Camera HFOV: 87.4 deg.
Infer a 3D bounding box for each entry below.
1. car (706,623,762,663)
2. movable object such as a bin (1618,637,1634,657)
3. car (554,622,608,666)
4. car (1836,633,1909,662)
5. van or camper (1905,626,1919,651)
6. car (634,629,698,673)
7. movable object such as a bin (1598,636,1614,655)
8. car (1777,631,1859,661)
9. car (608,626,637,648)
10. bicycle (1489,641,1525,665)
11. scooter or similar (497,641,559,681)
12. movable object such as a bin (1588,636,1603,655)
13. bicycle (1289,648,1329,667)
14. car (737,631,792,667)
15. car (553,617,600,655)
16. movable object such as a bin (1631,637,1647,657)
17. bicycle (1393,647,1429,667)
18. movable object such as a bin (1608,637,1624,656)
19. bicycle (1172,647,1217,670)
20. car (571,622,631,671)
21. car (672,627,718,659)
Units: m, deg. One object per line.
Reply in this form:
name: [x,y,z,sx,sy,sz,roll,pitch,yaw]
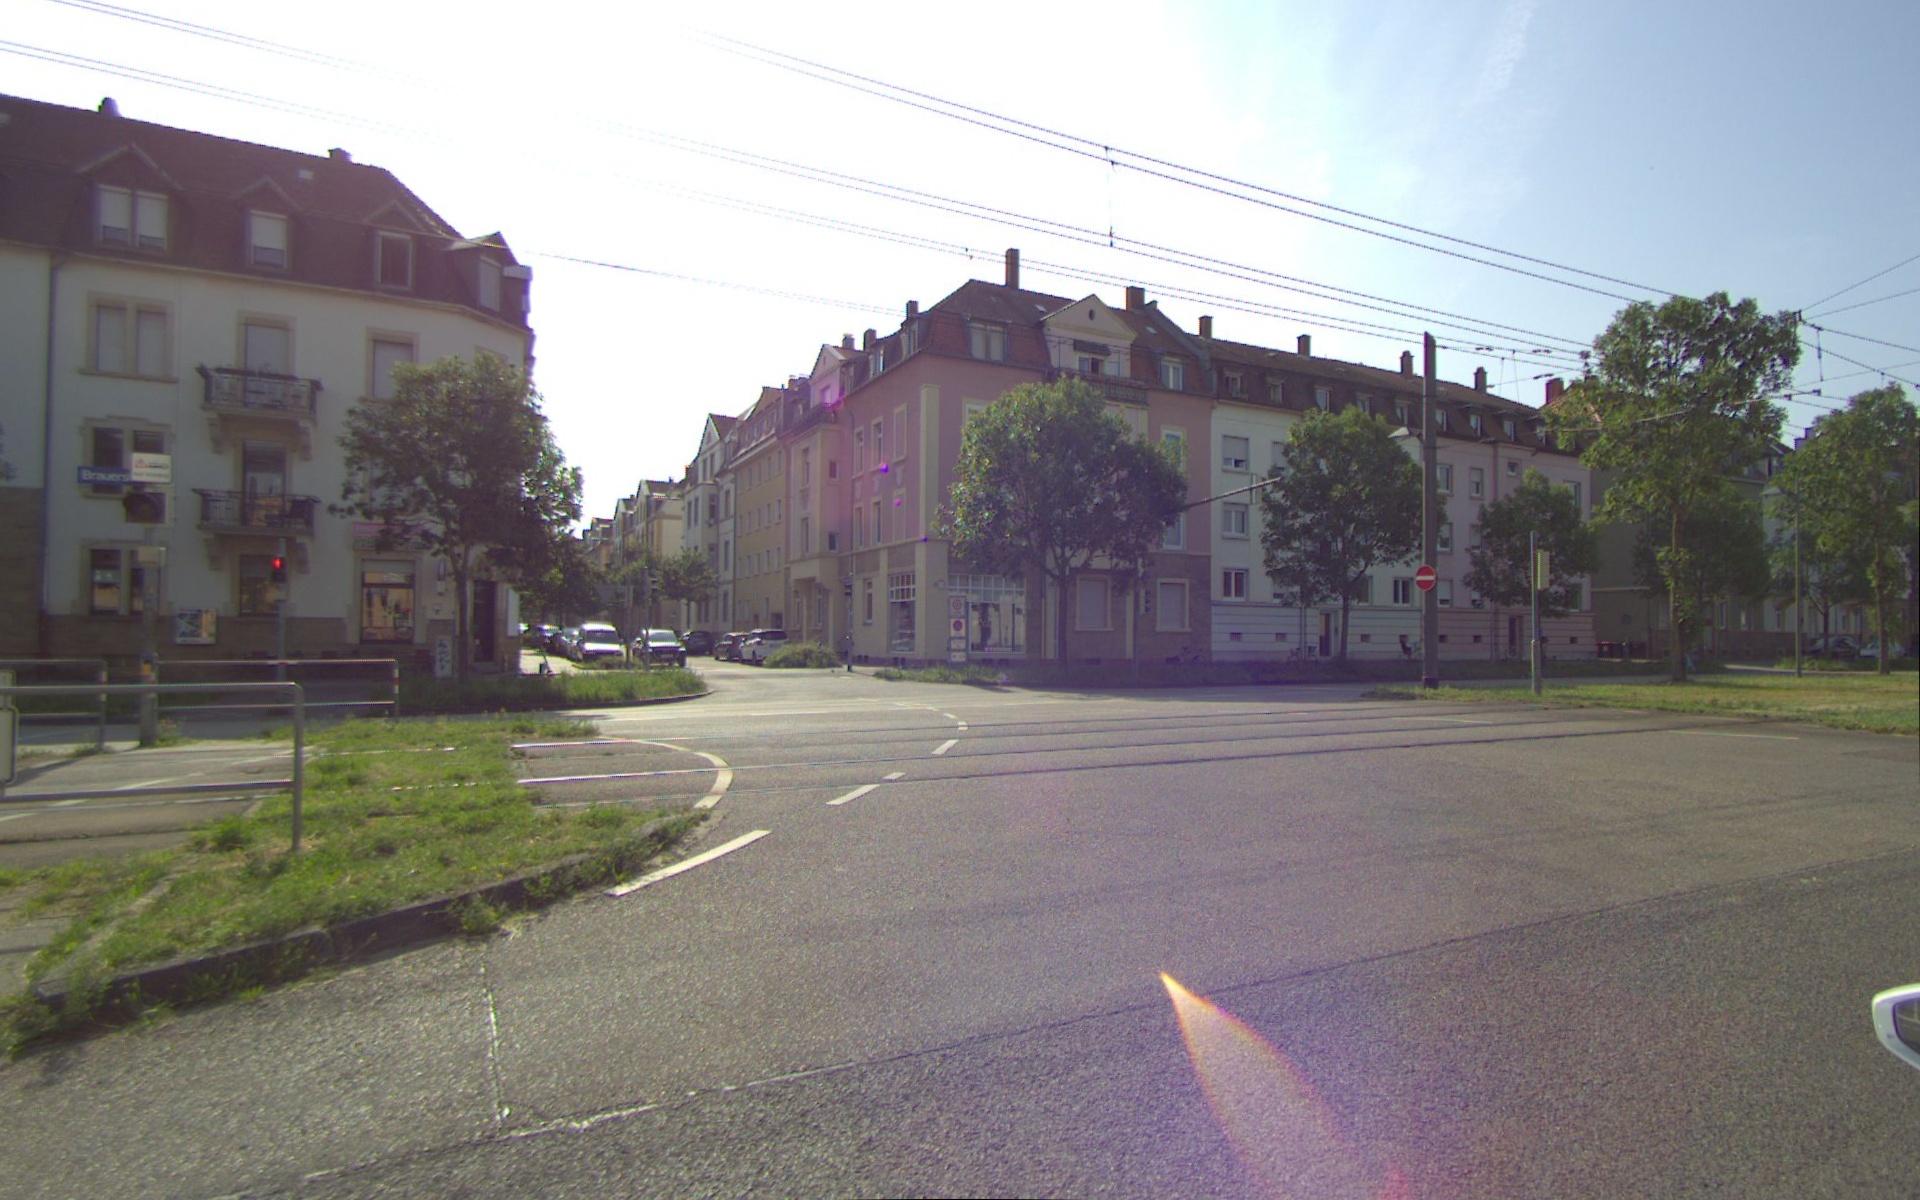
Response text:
car: [-11.709,2.210,51.907,1.812,1.874,3.970,2,0,-29]
movable object such as a bin: [42.561,2.988,64.192,0.632,1.227,0.582,1,0,-28]
car: [-17.896,2.047,47.331,1.812,1.874,3.970,2,0,-29]
car: [56.522,2.925,62.185,4.099,1.650,1.884,1,0,-25]
van or camper: [63.359,2.535,64.044,1.962,1.645,4.853,1,0,6]
car: [-12.665,2.152,43.163,1.812,1.642,3.970,2,0,-29]
movable object such as a bin: [41.996,2.978,65.298,0.632,1.227,0.582,1,0,-28]
car: [50.785,2.715,59.445,4.711,1.650,1.987,1,0,-26]
car: [-30.288,3.278,90.020,1.812,1.874,3.970,2,-1,-29]
bicycle: [27.292,2.655,50.089,1.924,1.143,0.601,2,0,-29]
scooter or similar: [-12.676,1.768,29.491,0.731,1.083,1.481,1,0,41]
movable object such as a bin: [41.708,2.973,65.876,0.632,1.227,0.582,1,0,-28]
bicycle: [15.217,2.503,43.774,1.924,0.799,0.435,2,0,-29]
car: [-9.218,2.287,47.222,1.551,1.481,3.383,2,0,-29]
car: [-20.943,1.924,54.768,1.812,1.874,3.970,2,0,-29]
movable object such as a bin: [42.972,2.996,63.585,0.632,1.227,0.582,1,0,-28]
bicycle: [21.046,2.663,46.848,1.924,0.868,0.445,2,0,-29]
movable object such as a bin: [42.287,2.983,64.759,0.632,1.227,0.582,1,0,-28]
bicycle: [9.524,2.372,40.752,1.924,0.900,0.465,2,0,-29]
car: [-15.378,1.967,42.923,1.812,1.874,3.970,2,0,-29]
car: [-16.052,2.627,60.772,1.812,1.873,3.971,2,-3,-29]
